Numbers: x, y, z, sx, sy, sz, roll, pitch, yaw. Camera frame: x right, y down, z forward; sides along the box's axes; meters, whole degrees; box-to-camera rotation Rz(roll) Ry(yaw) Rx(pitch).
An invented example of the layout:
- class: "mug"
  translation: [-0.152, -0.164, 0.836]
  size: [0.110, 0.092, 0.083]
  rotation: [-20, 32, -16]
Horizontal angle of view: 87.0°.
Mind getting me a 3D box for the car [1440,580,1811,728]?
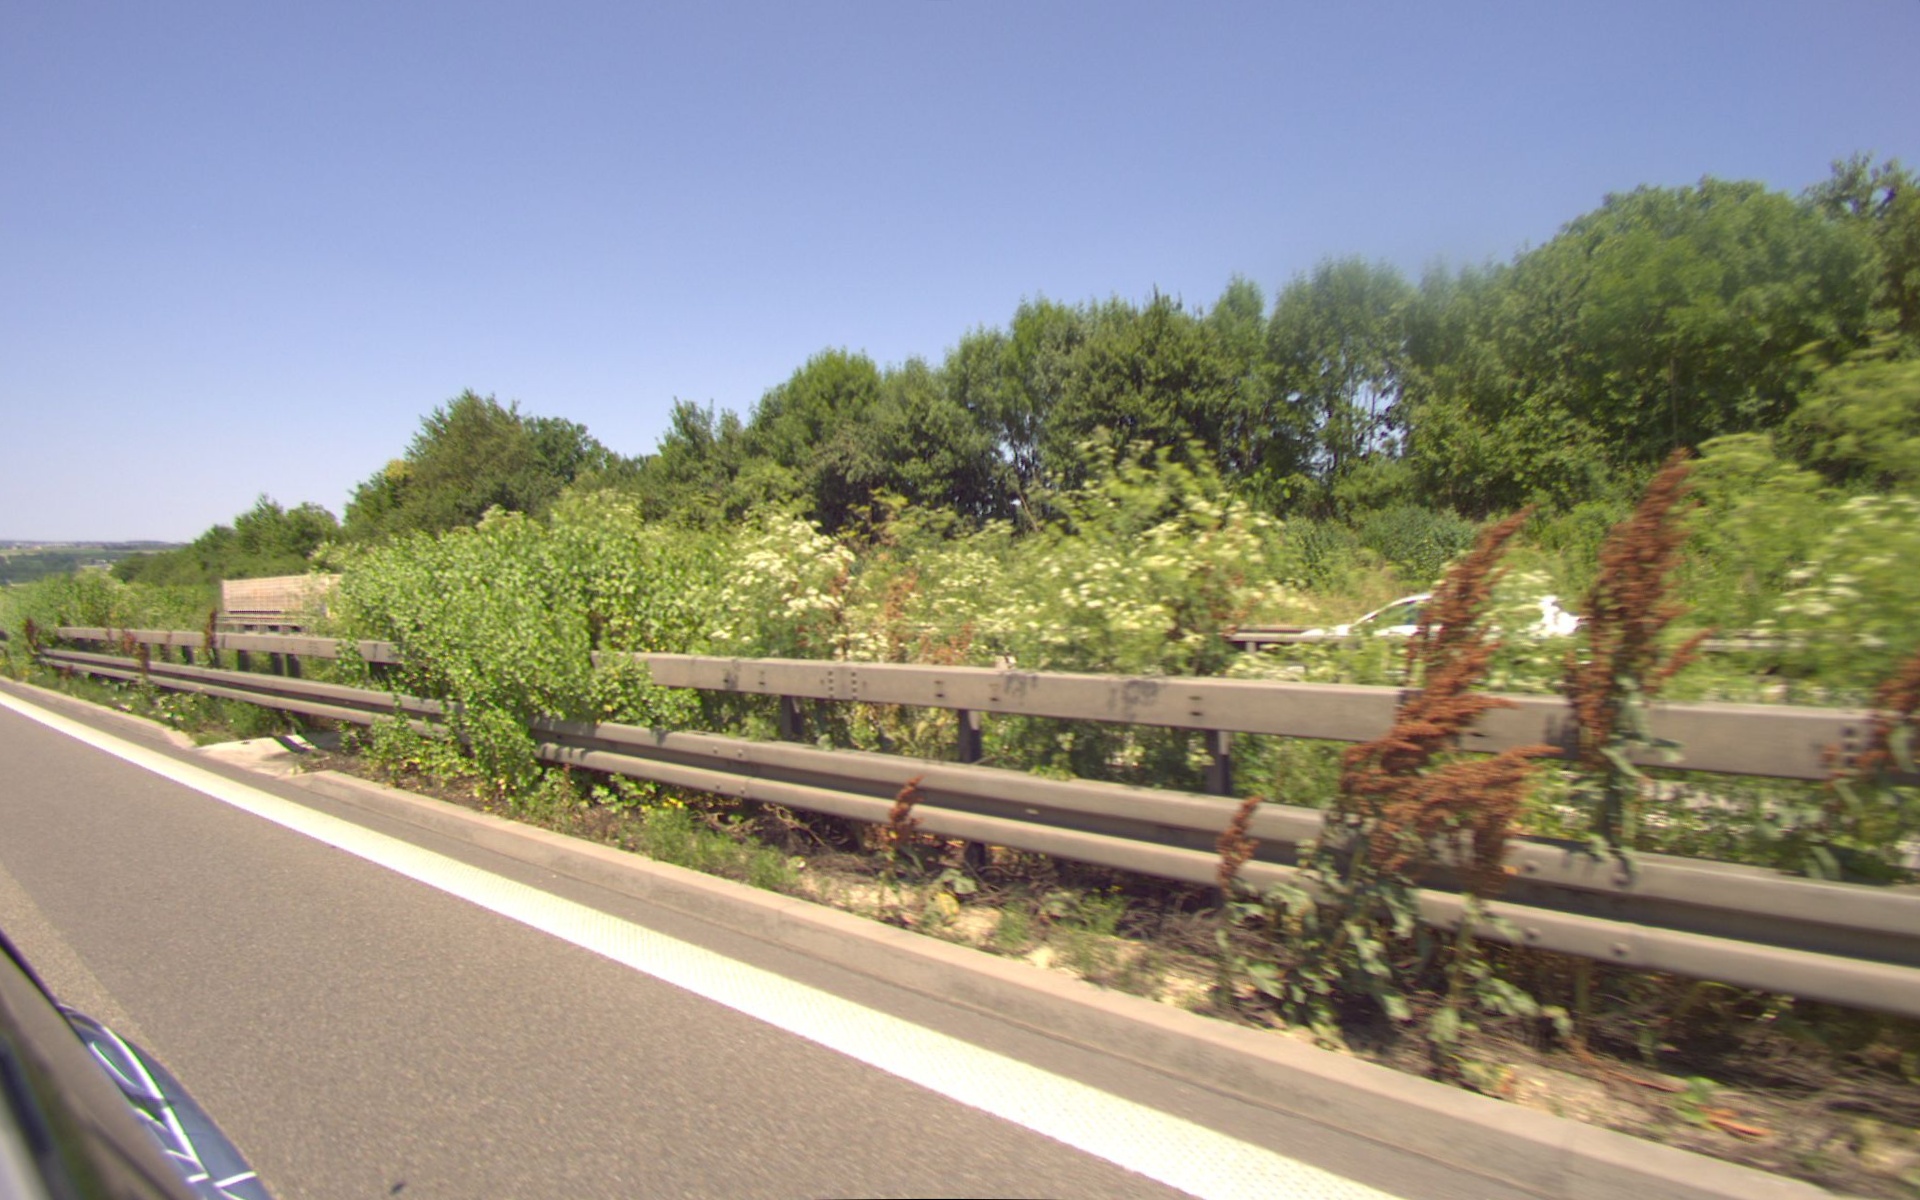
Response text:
- class: "car"
  translation: [9.141, 0.661, 14.097]
  size: [4.113, 1.760, 1.729]
  rotation: [-1, 0, 41]
